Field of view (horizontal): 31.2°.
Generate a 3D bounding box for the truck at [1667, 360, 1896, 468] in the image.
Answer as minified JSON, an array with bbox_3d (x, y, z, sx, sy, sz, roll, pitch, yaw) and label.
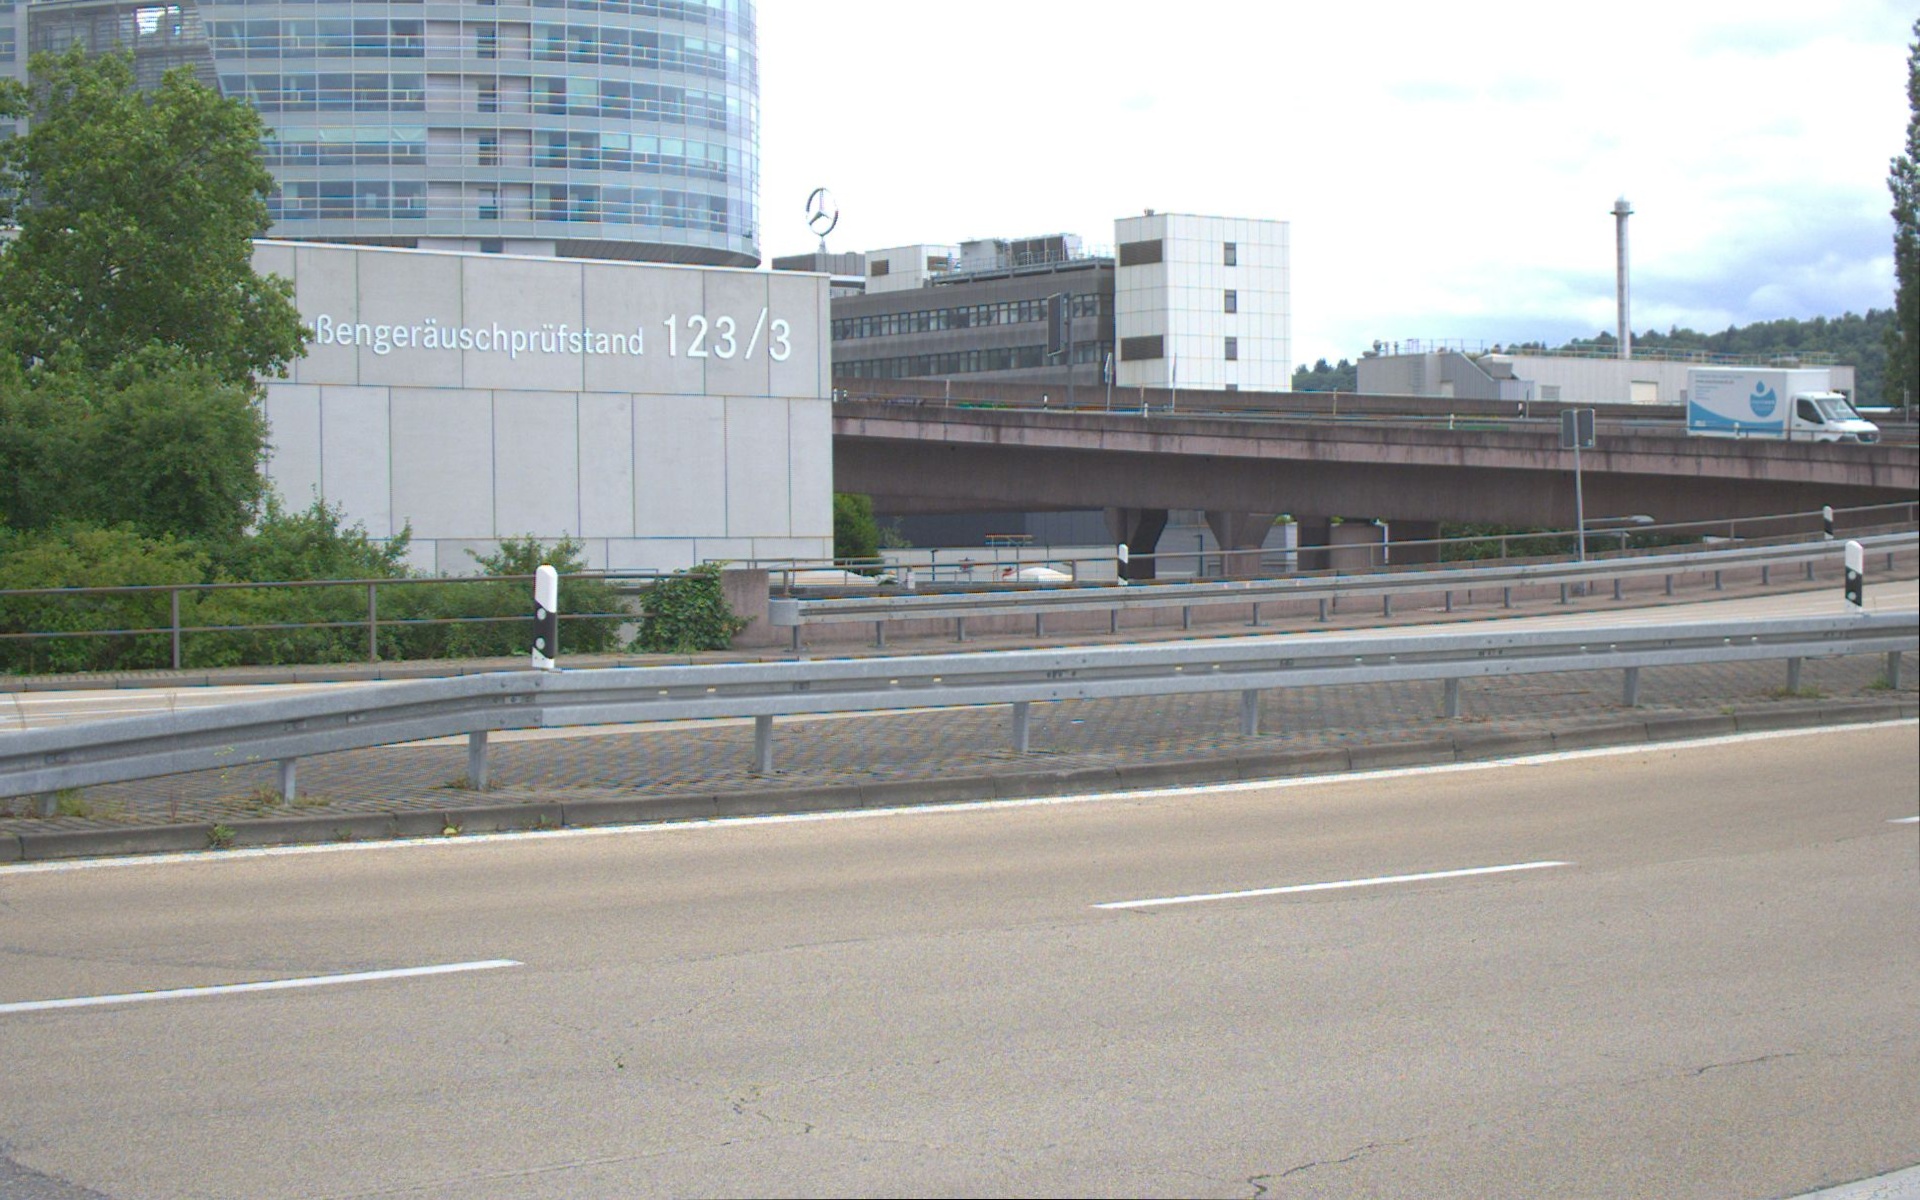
[{"bbox_3d":[26.875,-6.042,112.804,2.323,3.258,7.348,1,0,-39],"label":"truck"}]
